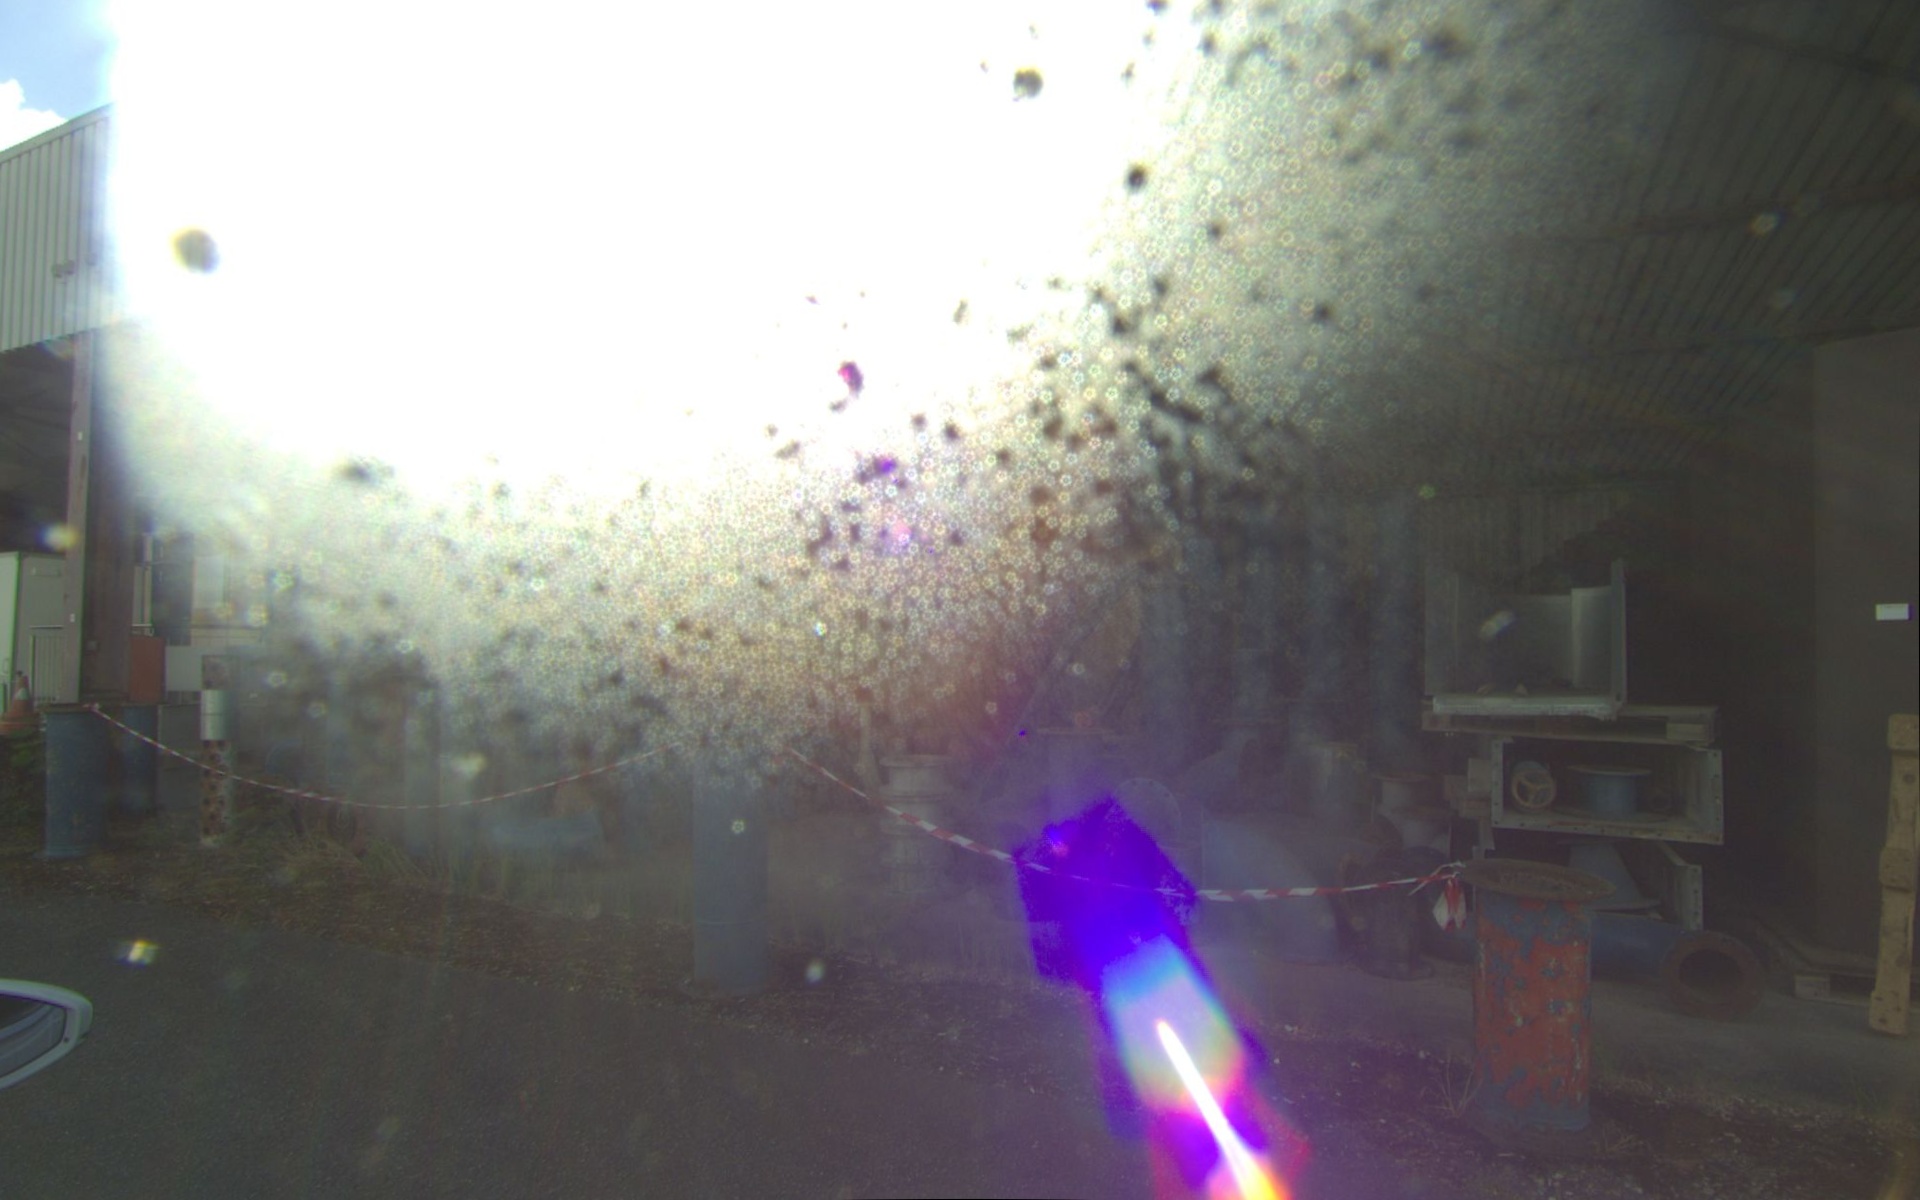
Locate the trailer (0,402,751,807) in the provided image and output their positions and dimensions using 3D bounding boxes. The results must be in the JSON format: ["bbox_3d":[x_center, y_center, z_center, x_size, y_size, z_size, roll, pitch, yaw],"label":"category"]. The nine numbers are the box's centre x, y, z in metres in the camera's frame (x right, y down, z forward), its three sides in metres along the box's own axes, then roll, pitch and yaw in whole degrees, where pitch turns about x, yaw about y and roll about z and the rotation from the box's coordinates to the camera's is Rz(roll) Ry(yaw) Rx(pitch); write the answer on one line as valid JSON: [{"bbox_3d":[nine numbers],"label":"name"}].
[{"bbox_3d":[-7.026,0.204,13.133,2.632,3.337,10.295,0,-2,26],"label":"trailer"}]

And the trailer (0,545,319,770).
[{"bbox_3d":[-10.386,0.649,11.821,1.661,2.365,4.542,0,-2,26],"label":"trailer"}]

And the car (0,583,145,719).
[{"bbox_3d":[-17.529,0.868,17.098,2.050,2.326,5.220,-1,-3,25],"label":"car"}]

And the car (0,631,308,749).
[{"bbox_3d":[-12.048,1.185,14.284,1.833,1.451,4.349,-1,-2,22],"label":"car"}]

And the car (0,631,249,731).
[{"bbox_3d":[-14.378,1.257,16.397,1.820,1.472,4.109,-1,-2,25],"label":"car"}]

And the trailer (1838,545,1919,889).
[{"bbox_3d":[6.098,0.641,4.599,2.015,2.022,4.815,-1,-2,28],"label":"trailer"}]
